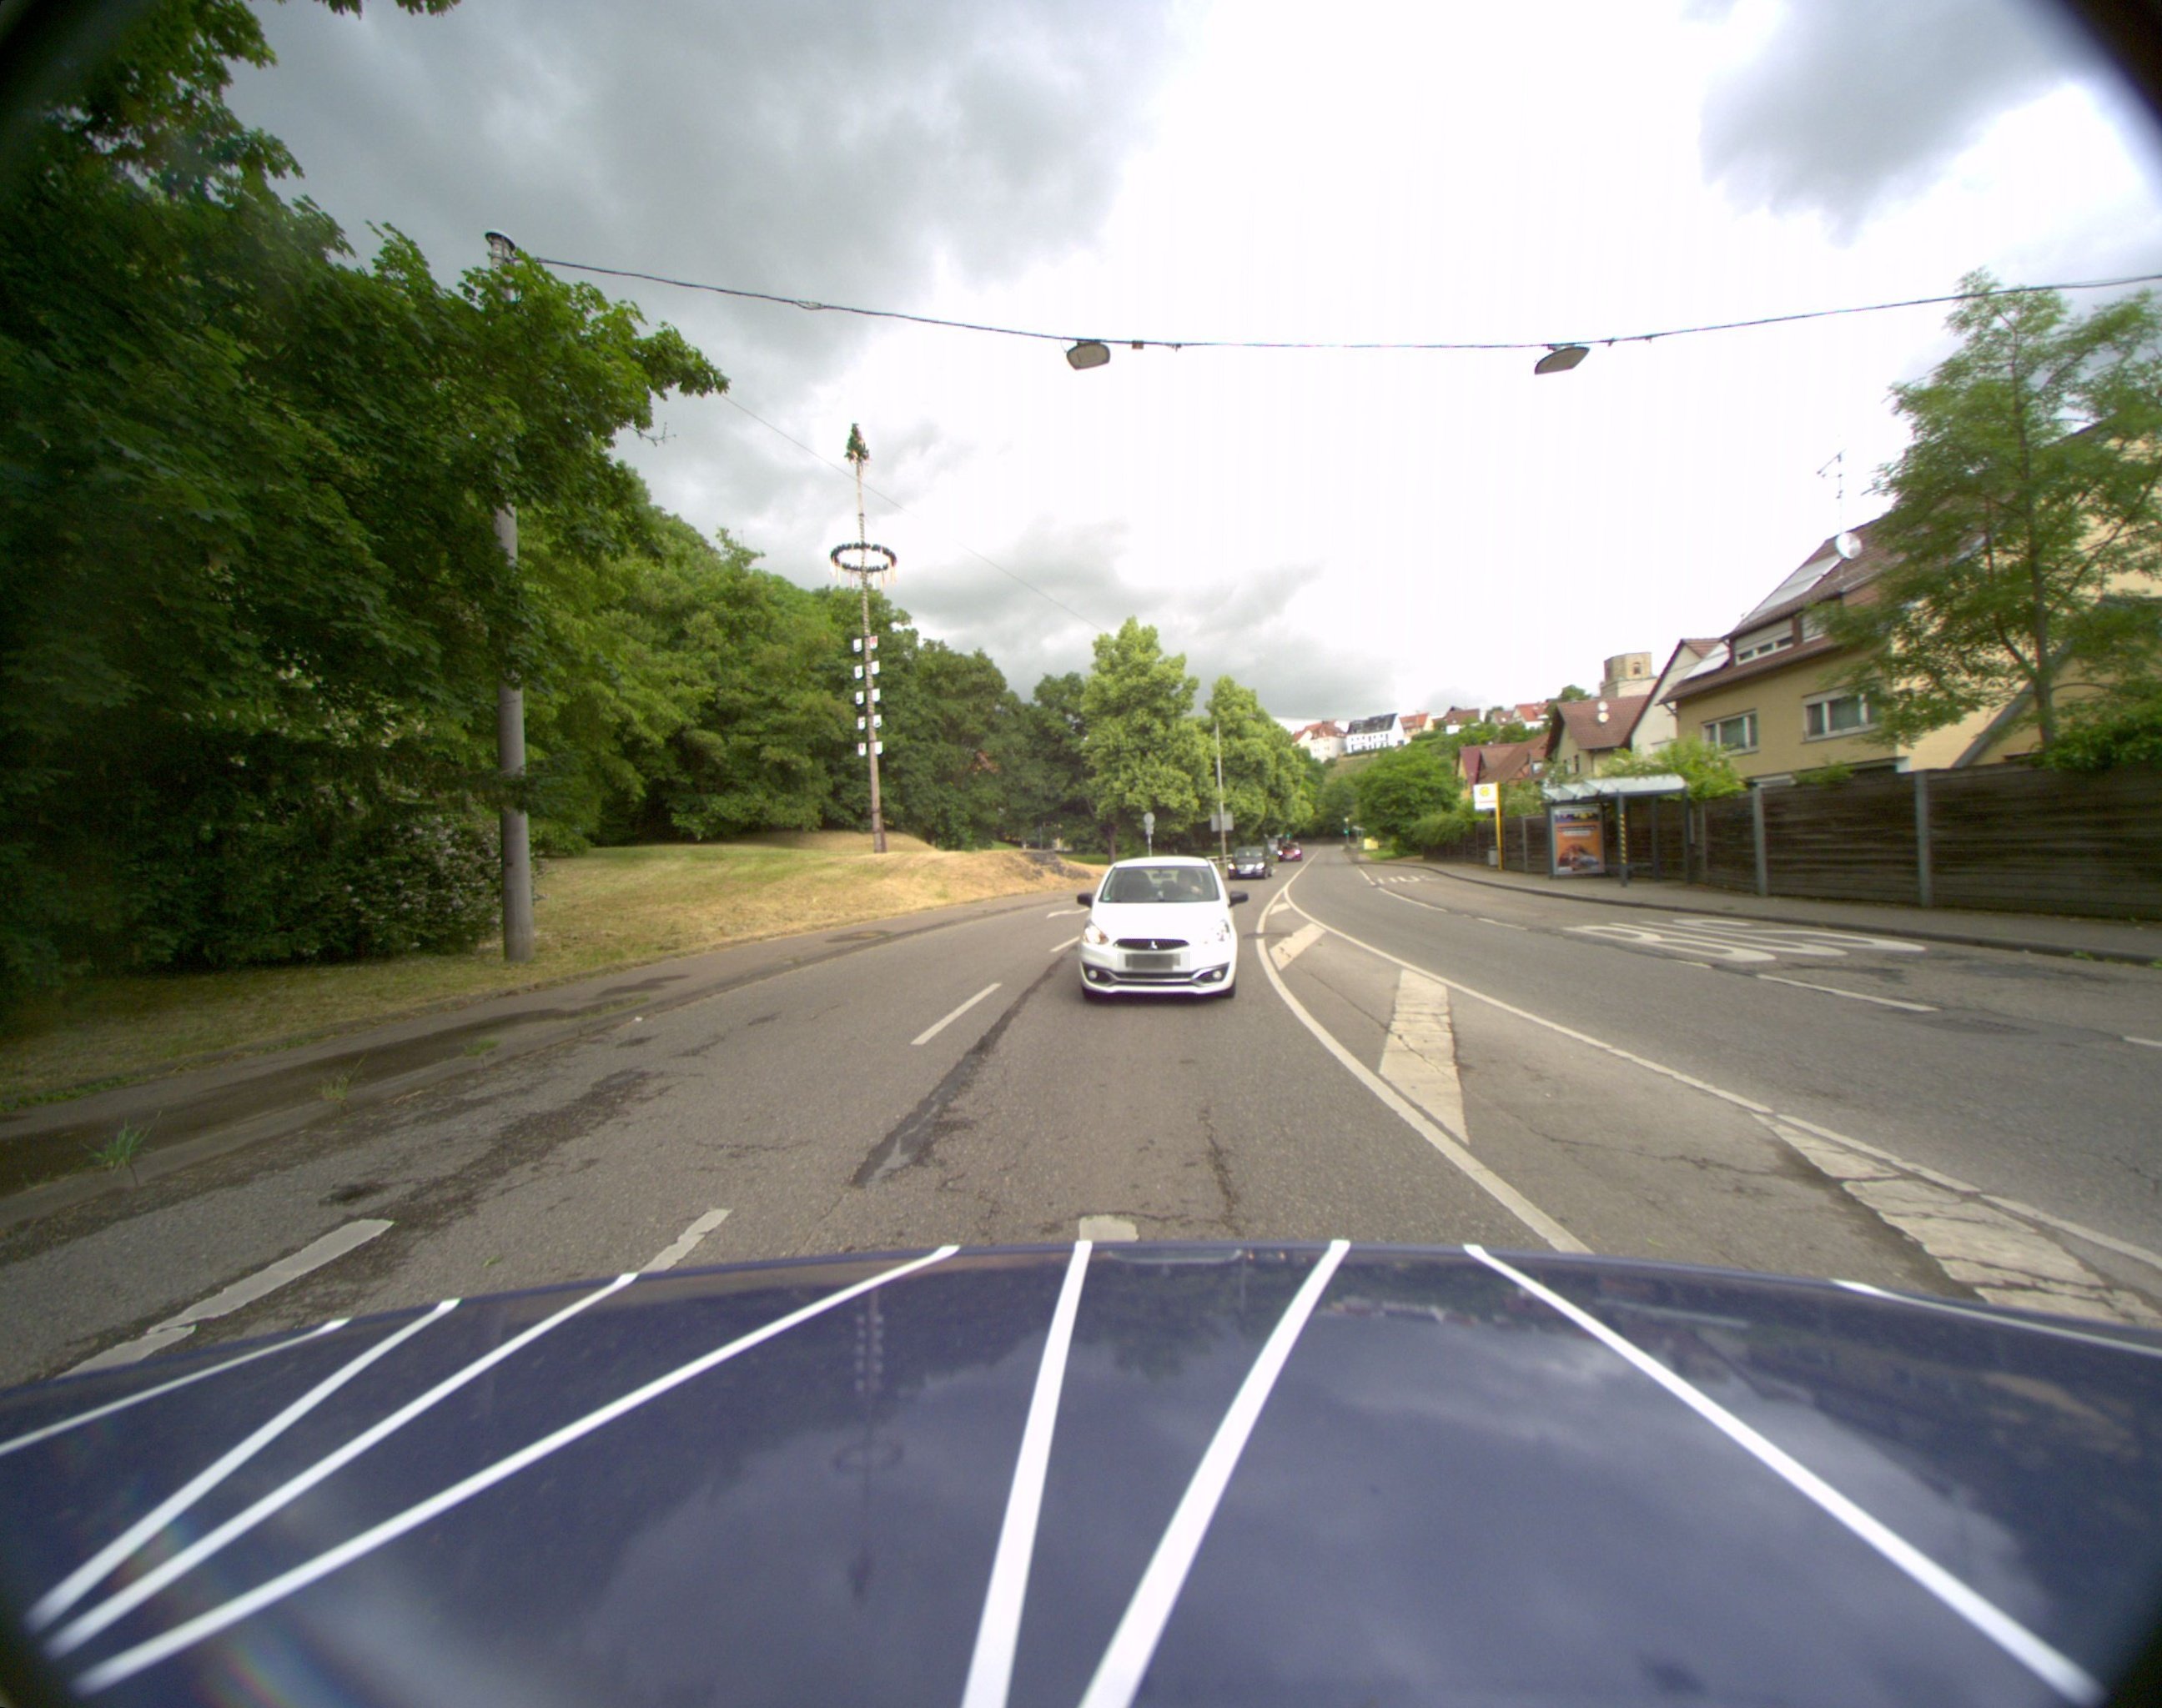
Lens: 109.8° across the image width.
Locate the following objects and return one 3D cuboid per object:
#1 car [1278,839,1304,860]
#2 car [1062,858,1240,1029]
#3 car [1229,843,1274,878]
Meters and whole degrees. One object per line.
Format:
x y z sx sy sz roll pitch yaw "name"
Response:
18.265 -0.397 65.905 1.826 1.662 4.063 -2 1 19 "car"
0.923 0.873 8.951 1.617 1.505 3.607 -2 1 9 "car"
8.292 0.288 36.747 1.722 1.539 3.786 -2 1 18 "car"
